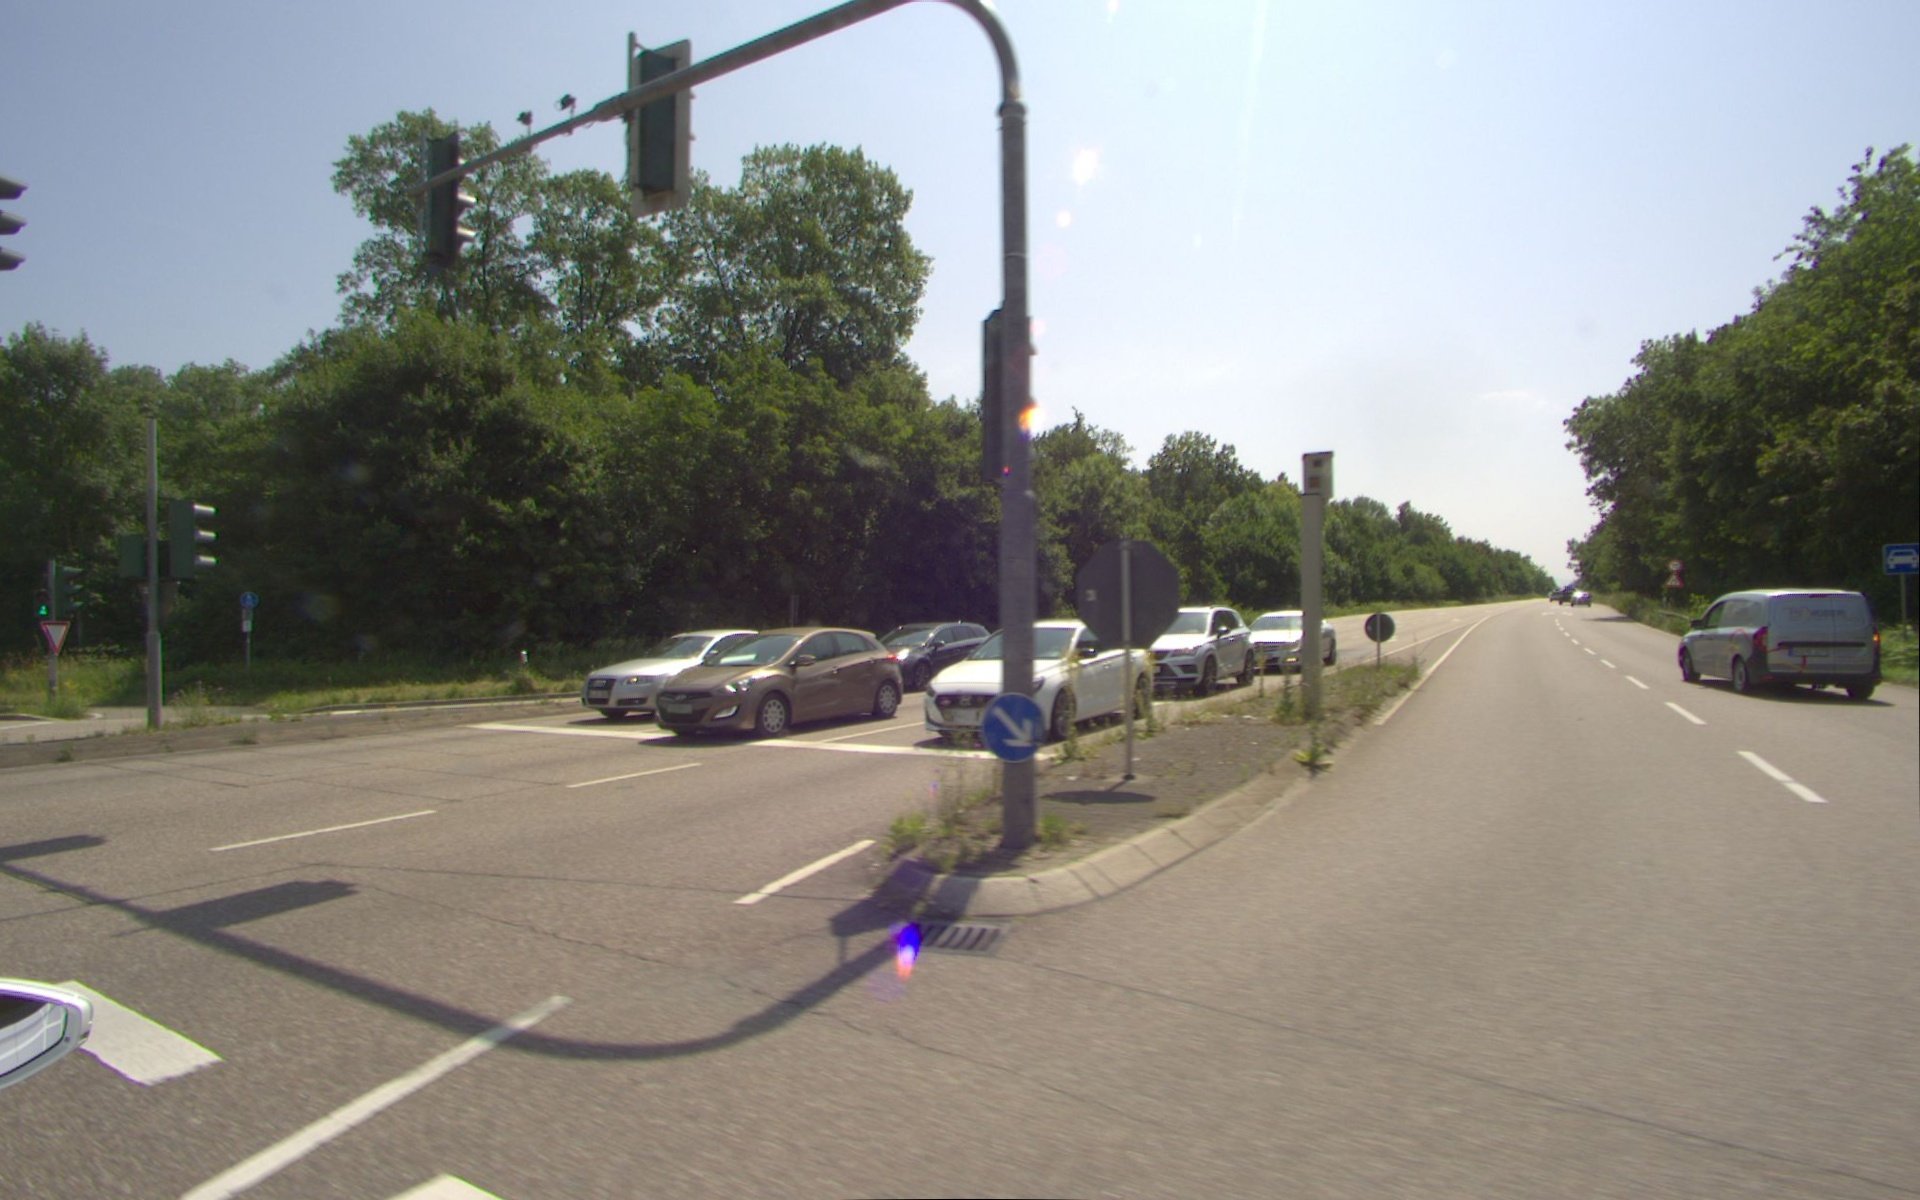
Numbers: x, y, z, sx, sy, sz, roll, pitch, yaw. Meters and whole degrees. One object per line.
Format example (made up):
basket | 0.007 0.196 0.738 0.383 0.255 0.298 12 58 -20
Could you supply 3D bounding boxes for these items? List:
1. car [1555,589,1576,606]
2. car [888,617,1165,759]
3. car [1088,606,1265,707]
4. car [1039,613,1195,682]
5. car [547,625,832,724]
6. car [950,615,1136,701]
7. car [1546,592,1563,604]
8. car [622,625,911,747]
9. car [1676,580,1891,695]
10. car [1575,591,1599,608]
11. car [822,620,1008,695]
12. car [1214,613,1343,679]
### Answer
car | 65.385 -0.285 108.057 1.821 1.774 4.438 -1 -1 33
car | 1.093 1.032 13.590 1.971 1.555 4.413 -1 -1 31
car | 4.201 0.971 18.949 1.972 1.681 4.164 -1 -1 32
car | 4.193 1.155 25.943 2.108 1.553 5.118 -2 -1 32
car | -4.675 1.233 18.086 1.992 1.517 4.922 -2 -2 33
car | 1.859 1.133 20.902 2.092 1.555 4.411 -2 -1 32
car | 79.973 -0.293 134.669 1.821 1.518 4.438 -1 -1 33
car | -2.650 1.124 14.658 1.966 1.466 4.086 -1 -1 30
car | 14.437 0.658 17.848 1.731 1.796 4.105 0 -2 21
car | 58.908 -0.041 94.047 1.821 1.518 4.438 -1 -1 33
car | -0.916 1.261 23.354 2.082 1.518 4.607 -2 -1 32
car | 7.928 1.078 24.640 1.946 1.433 4.321 -2 -1 33
